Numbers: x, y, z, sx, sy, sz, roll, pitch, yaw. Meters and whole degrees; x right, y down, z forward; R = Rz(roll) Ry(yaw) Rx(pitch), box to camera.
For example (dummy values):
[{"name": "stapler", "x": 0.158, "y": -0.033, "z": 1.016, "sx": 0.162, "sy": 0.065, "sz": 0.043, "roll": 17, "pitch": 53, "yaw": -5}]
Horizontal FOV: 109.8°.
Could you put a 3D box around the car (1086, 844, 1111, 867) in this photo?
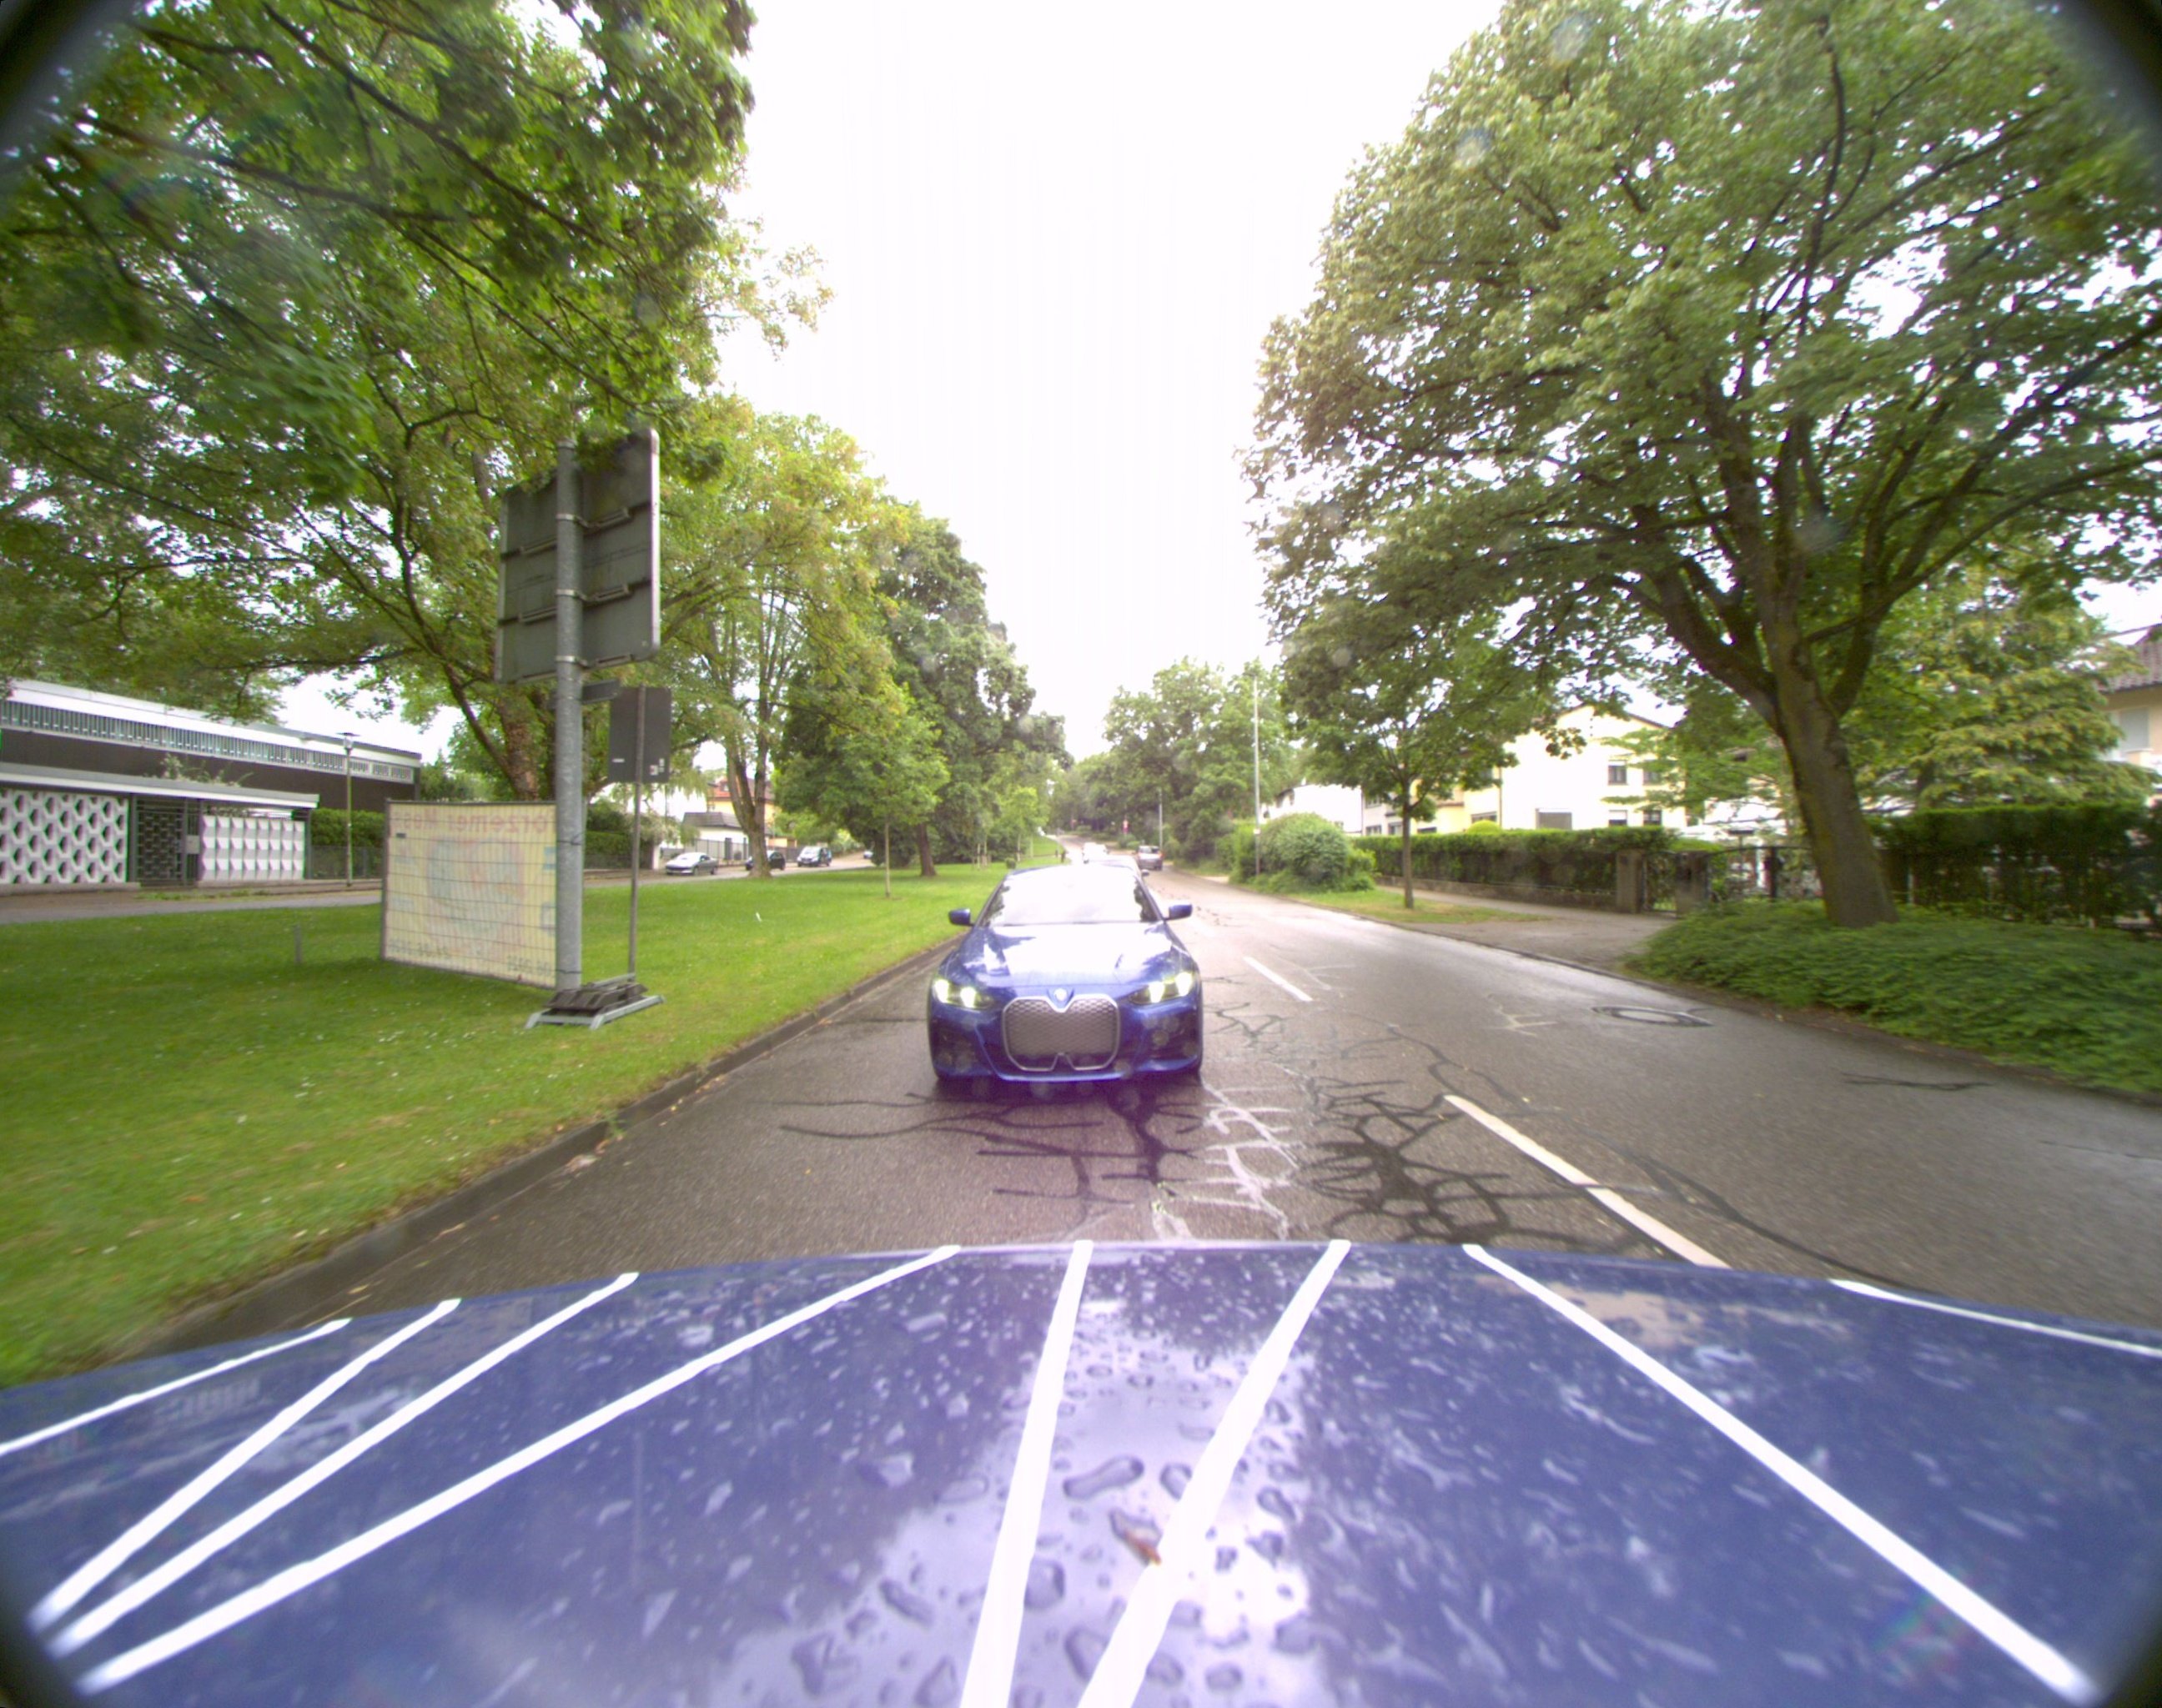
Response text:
[{"name": "car", "x": 1.263, "y": 0.081, "z": 53.976, "sx": 1.678, "sy": 1.542, "sz": 3.831, "roll": 1, "pitch": 1, "yaw": 1}]

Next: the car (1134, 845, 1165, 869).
[{"name": "car", "x": 4.710, "y": 0.196, "z": 52.532, "sx": 1.768, "sy": 1.605, "sz": 4.141, "roll": 1, "pitch": 0, "yaw": 0}]

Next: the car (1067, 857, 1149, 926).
[{"name": "car", "x": 0.703, "y": 0.827, "z": 18.931, "sx": 1.796, "sy": 1.459, "sz": 4.510, "roll": -1, "pitch": 0, "yaw": 3}]

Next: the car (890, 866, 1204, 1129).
[{"name": "car", "x": -0.098, "y": 0.883, "z": 6.696, "sx": 1.796, "sy": 1.458, "sz": 4.511, "roll": -2, "pitch": 0, "yaw": 3}]

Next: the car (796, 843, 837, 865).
[{"name": "car", "x": -24.431, "y": -0.005, "z": 70.338, "sx": 2.165, "sy": 1.868, "sz": 5.067, "roll": 0, "pitch": 2, "yaw": -2}]

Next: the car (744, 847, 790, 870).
[{"name": "car", "x": -23.877, "y": 0.301, "z": 57.882, "sx": 1.907, "sy": 1.615, "sz": 4.033, "roll": 0, "pitch": 2, "yaw": -2}]

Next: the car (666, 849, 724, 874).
[{"name": "car", "x": -23.190, "y": 0.435, "z": 45.770, "sx": 1.686, "sy": 1.368, "sz": 3.708, "roll": 2, "pitch": 1, "yaw": -2}]
